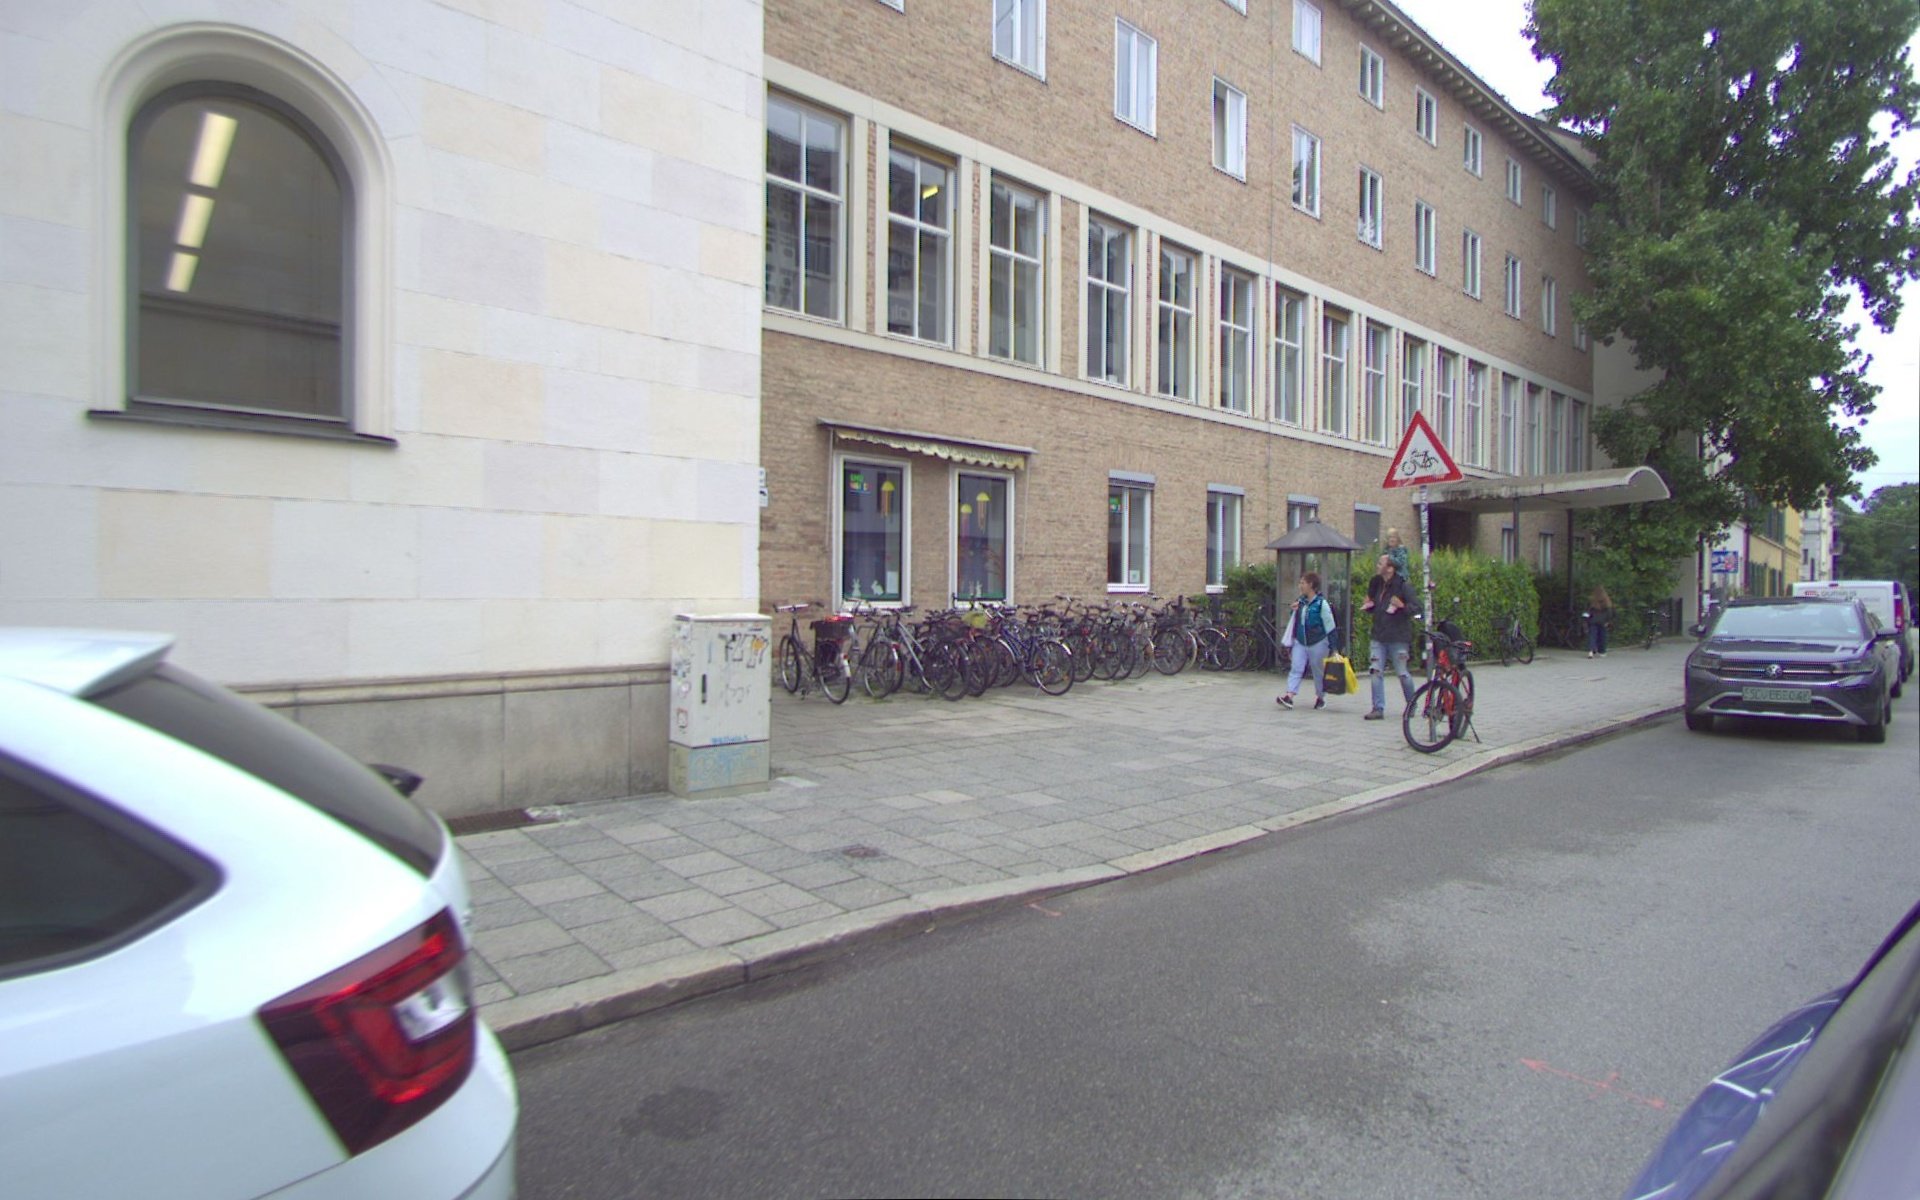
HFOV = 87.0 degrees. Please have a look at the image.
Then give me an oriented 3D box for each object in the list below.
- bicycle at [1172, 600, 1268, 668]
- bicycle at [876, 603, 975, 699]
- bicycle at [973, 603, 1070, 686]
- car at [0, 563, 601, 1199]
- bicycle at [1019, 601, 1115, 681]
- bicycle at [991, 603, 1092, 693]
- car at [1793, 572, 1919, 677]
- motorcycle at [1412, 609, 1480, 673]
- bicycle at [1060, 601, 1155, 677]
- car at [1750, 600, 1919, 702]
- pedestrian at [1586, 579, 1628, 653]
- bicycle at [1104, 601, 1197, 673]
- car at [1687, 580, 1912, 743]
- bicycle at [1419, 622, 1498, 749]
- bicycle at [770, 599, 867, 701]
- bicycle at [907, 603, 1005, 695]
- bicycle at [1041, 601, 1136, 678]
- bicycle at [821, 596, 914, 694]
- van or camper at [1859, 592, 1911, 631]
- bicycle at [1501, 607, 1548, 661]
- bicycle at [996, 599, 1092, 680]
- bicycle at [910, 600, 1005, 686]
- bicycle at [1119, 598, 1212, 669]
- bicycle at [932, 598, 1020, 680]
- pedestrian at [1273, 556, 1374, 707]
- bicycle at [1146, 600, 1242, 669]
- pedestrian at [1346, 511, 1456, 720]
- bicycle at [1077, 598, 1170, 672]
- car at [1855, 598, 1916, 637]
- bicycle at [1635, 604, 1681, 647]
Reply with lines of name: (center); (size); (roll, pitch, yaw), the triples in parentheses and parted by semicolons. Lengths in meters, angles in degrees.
bicycle: (4.400, 0.556, 17.207); (1.630, 1.055, 0.343); (2, 1, 45)
bicycle: (-0.451, 0.590, 12.424); (0.342, 1.055, 1.635); (1, 1, -36)
bicycle: (0.838, 0.589, 14.203); (0.342, 1.055, 1.634); (1, 1, -38)
car: (-2.690, 0.682, 0.710); (4.238, 1.495, 1.792); (0, 1, -42)
bicycle: (1.537, 0.574, 14.777); (0.342, 1.055, 1.634); (1, 1, -38)
bicycle: (1.028, 0.584, 12.955); (0.342, 1.055, 1.431); (1, 1, -42)
car: (18.845, 0.453, 21.044); (4.795, 1.949, 1.883); (0, 0, -45)
motorcycle: (8.558, 0.697, 17.785); (0.488, 1.067, 1.893); (-1, -1, 44)
bicycle: (2.233, 0.574, 15.482); (0.342, 1.055, 1.634); (1, 1, -38)
car: (14.131, 0.721, 16.236); (4.130, 1.435, 1.675); (0, -1, -43)
pedestrian: (14.927, 0.361, 23.333); (0.861, 1.654, 0.588); (1, -1, -41)
bicycle: (3.030, 0.571, 16.233); (0.342, 1.055, 1.634); (1, 1, -38)
car: (10.120, 0.613, 12.102); (1.747, 1.614, 3.892); (-1, 0, 44)
bicycle: (4.800, 0.774, 9.695); (0.346, 1.054, 1.613); (3, 2, 37)
bicycle: (-1.651, 0.538, 11.622); (0.342, 1.055, 1.635); (1, 1, -36)
bicycle: (-0.081, 0.590, 12.937); (0.342, 1.055, 1.635); (1, 1, -36)
bicycle: (1.906, 0.563, 15.228); (0.342, 1.055, 1.634); (1, 1, -38)
bicycle: (-1.175, 0.529, 12.597); (0.342, 1.108, 1.635); (1, 1, -36)
van or camper: (50.218, 0.616, 54.986); (1.992, 2.039, 5.152); (1, 0, 42)
bicycle: (11.574, 0.679, 20.742); (1.463, 1.067, 0.422); (1, -1, -43)
bicycle: (1.178, 0.541, 14.508); (0.342, 1.055, 1.634); (1, 1, -38)
bicycle: (-0.056, 0.547, 13.637); (0.342, 1.055, 1.634); (1, 1, -38)
bicycle: (3.328, 0.519, 16.495); (0.342, 1.055, 1.634); (1, 1, -38)
bicycle: (0.204, 0.520, 14.205); (0.342, 1.055, 1.431); (1, 1, -42)
pedestrian: (4.325, 0.362, 12.071); (0.737, 1.715, 0.861); (1, -1, -33)
bicycle: (3.891, 0.558, 16.919); (0.342, 1.055, 1.631); (1, 1, -44)
pedestrian: (4.941, 0.150, 11.342); (0.782, 2.224, 0.812); (0, 2, -41)
bicycle: (2.544, 0.526, 15.879); (0.342, 1.055, 1.634); (1, 1, -38)
car: (36.920, 0.666, 40.433); (1.712, 1.442, 4.390); (0, 0, 42)
bicycle: (18.298, 0.652, 26.515); (0.670, 1.087, 2.189); (1, 0, 43)
